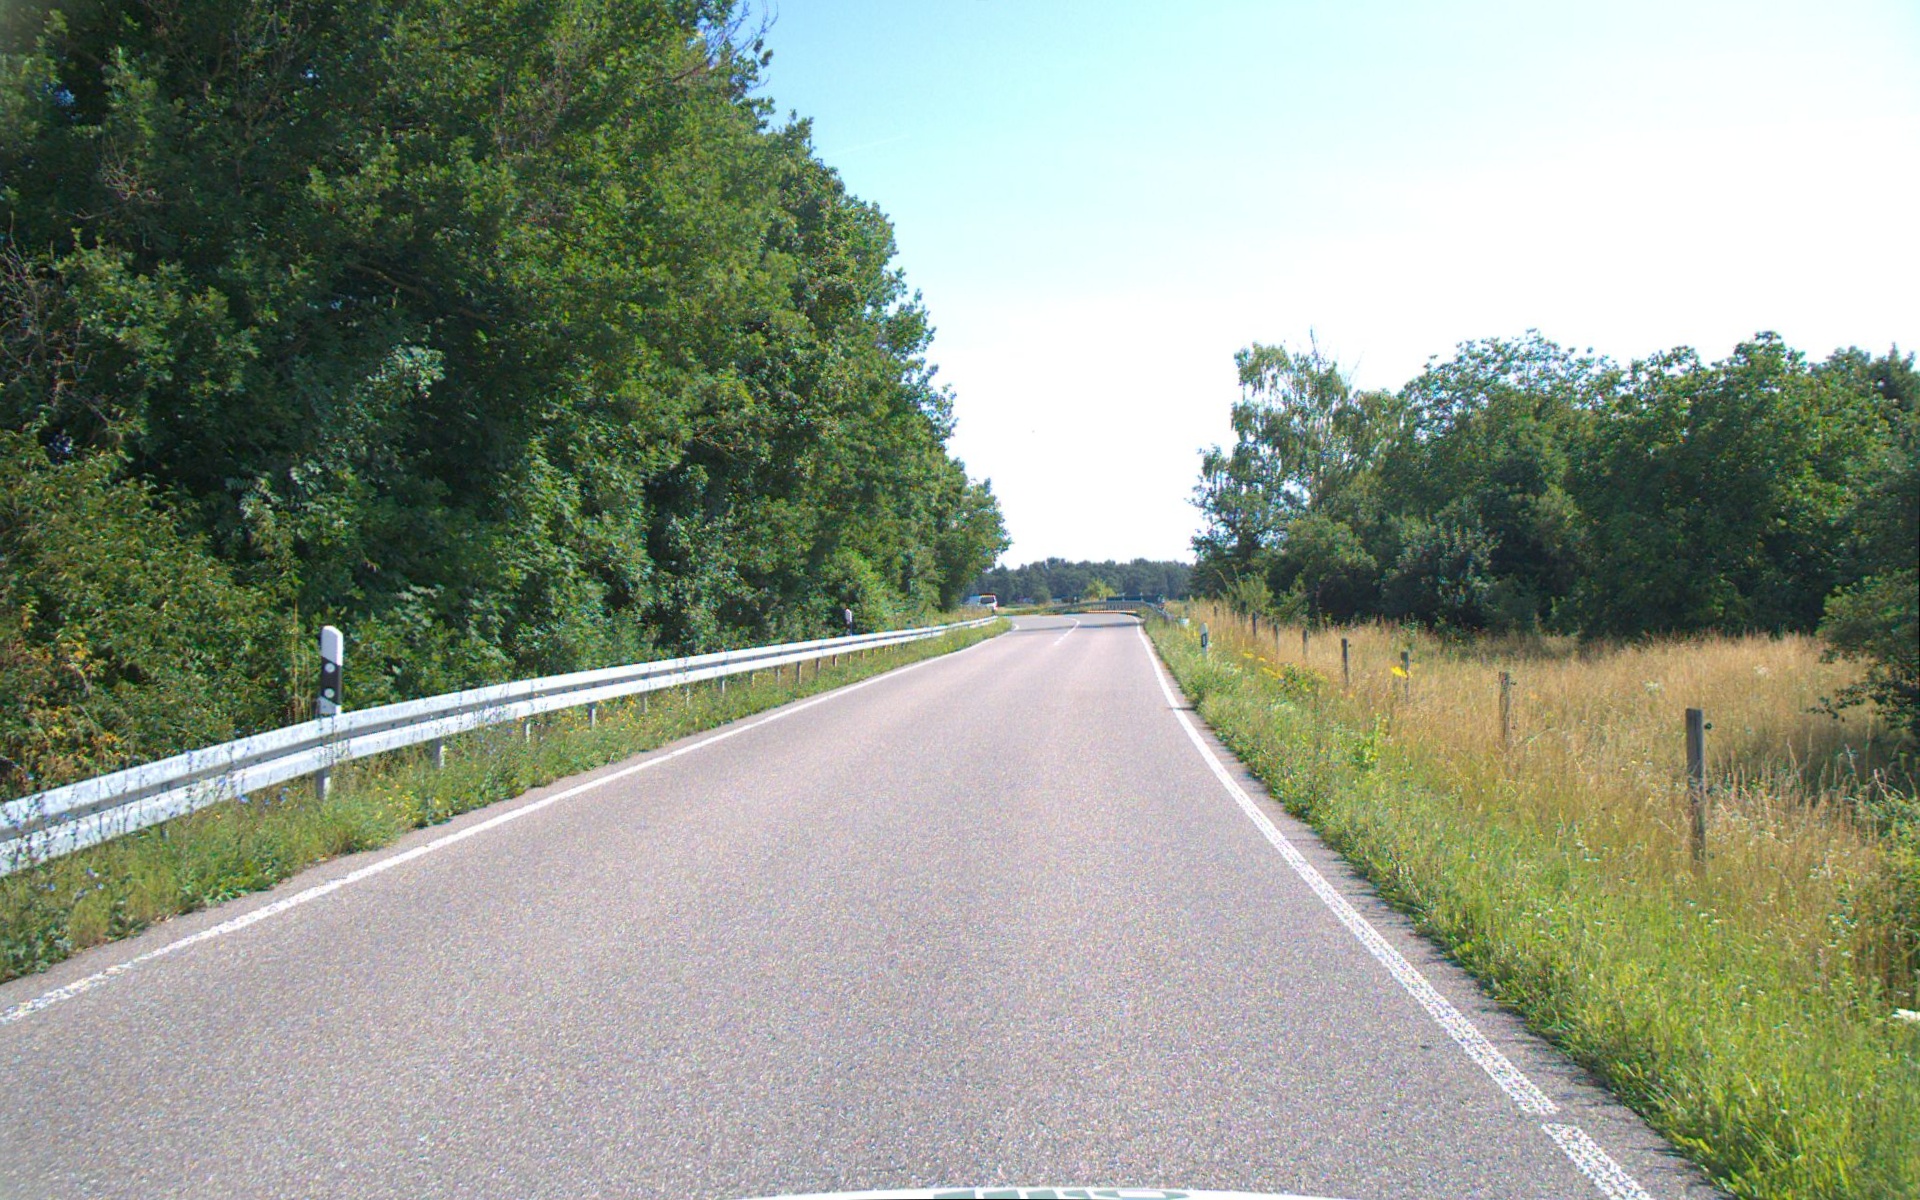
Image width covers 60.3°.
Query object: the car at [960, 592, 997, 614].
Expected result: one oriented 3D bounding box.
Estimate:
[{"bbox_3d":[1.588,0.310,146.514,1.934,1.834,4.134,1,-2,-21],"label":"car"}]
